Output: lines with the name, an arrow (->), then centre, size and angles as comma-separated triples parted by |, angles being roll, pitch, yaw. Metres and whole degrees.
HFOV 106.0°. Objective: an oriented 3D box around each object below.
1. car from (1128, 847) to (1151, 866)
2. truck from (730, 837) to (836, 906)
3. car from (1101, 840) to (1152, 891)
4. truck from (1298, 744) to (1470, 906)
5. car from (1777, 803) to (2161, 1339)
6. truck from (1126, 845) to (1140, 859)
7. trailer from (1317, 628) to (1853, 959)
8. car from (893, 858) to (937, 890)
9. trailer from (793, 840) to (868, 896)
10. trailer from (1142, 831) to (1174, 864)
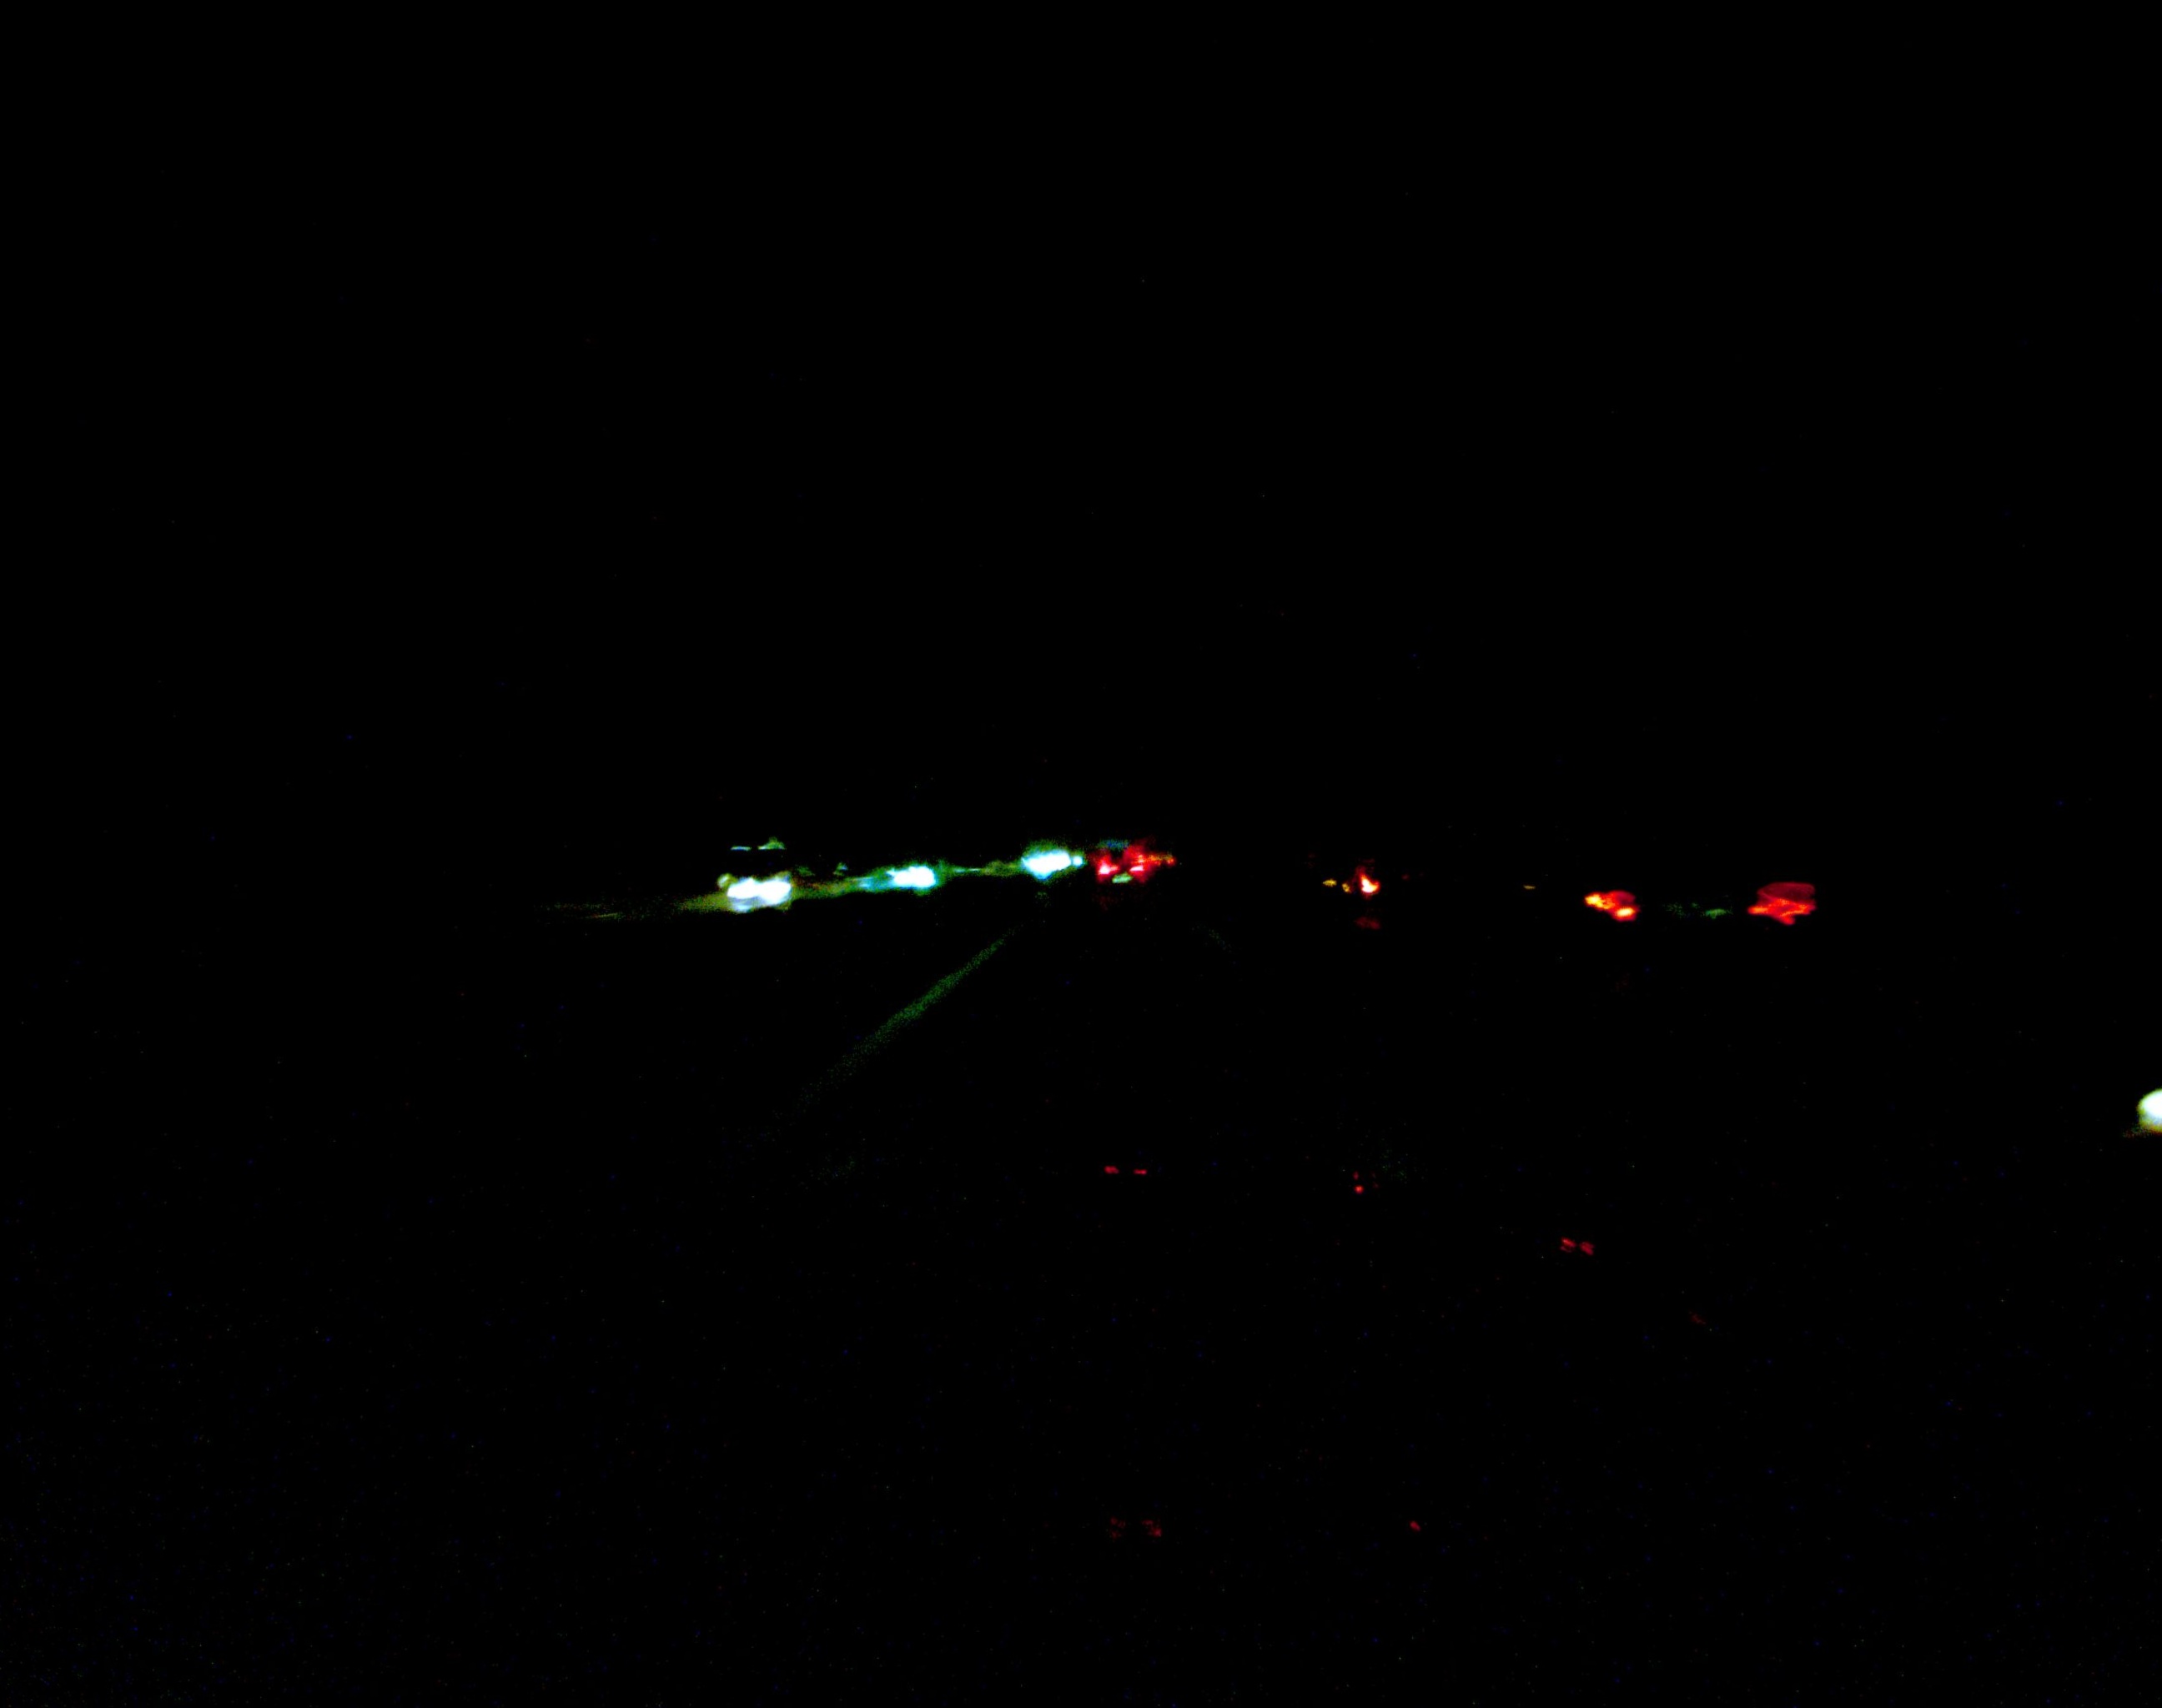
car -> 6.484, 0.311, 90.487 | 1.988, 2.013, 3.997 | -3, -1, -2
truck -> -18.807, 0.998, 52.318 | 2.858, 3.907, 10.211 | -2, 0, 0
car -> 1.857, 0.492, 34.208 | 1.986, 2.014, 4.000 | 0, -1, 1
truck -> 8.745, -0.763, 24.375 | 2.892, 4.108, 6.033 | -3, 0, 2
car -> 4.004, 0.612, 1.451 | 1.734, 1.575, 4.495 | -1, 0, 1
truck -> 14.148, -0.498, 221.517 | 3.027, 3.297, 11.379 | -3, -1, 0
trailer -> 8.546, -0.771, 17.686 | 2.892, 4.108, 14.492 | -3, 0, 2
car -> -11.216, 1.331, 55.254 | 1.986, 2.013, 4.001 | -2, 0, 1
trailer -> -18.781, 0.976, 61.809 | 2.847, 3.900, 8.705 | -2, 0, 0
trailer -> 10.700, -0.791, 113.943 | 3.031, 4.108, 13.827 | -3, -1, 0
